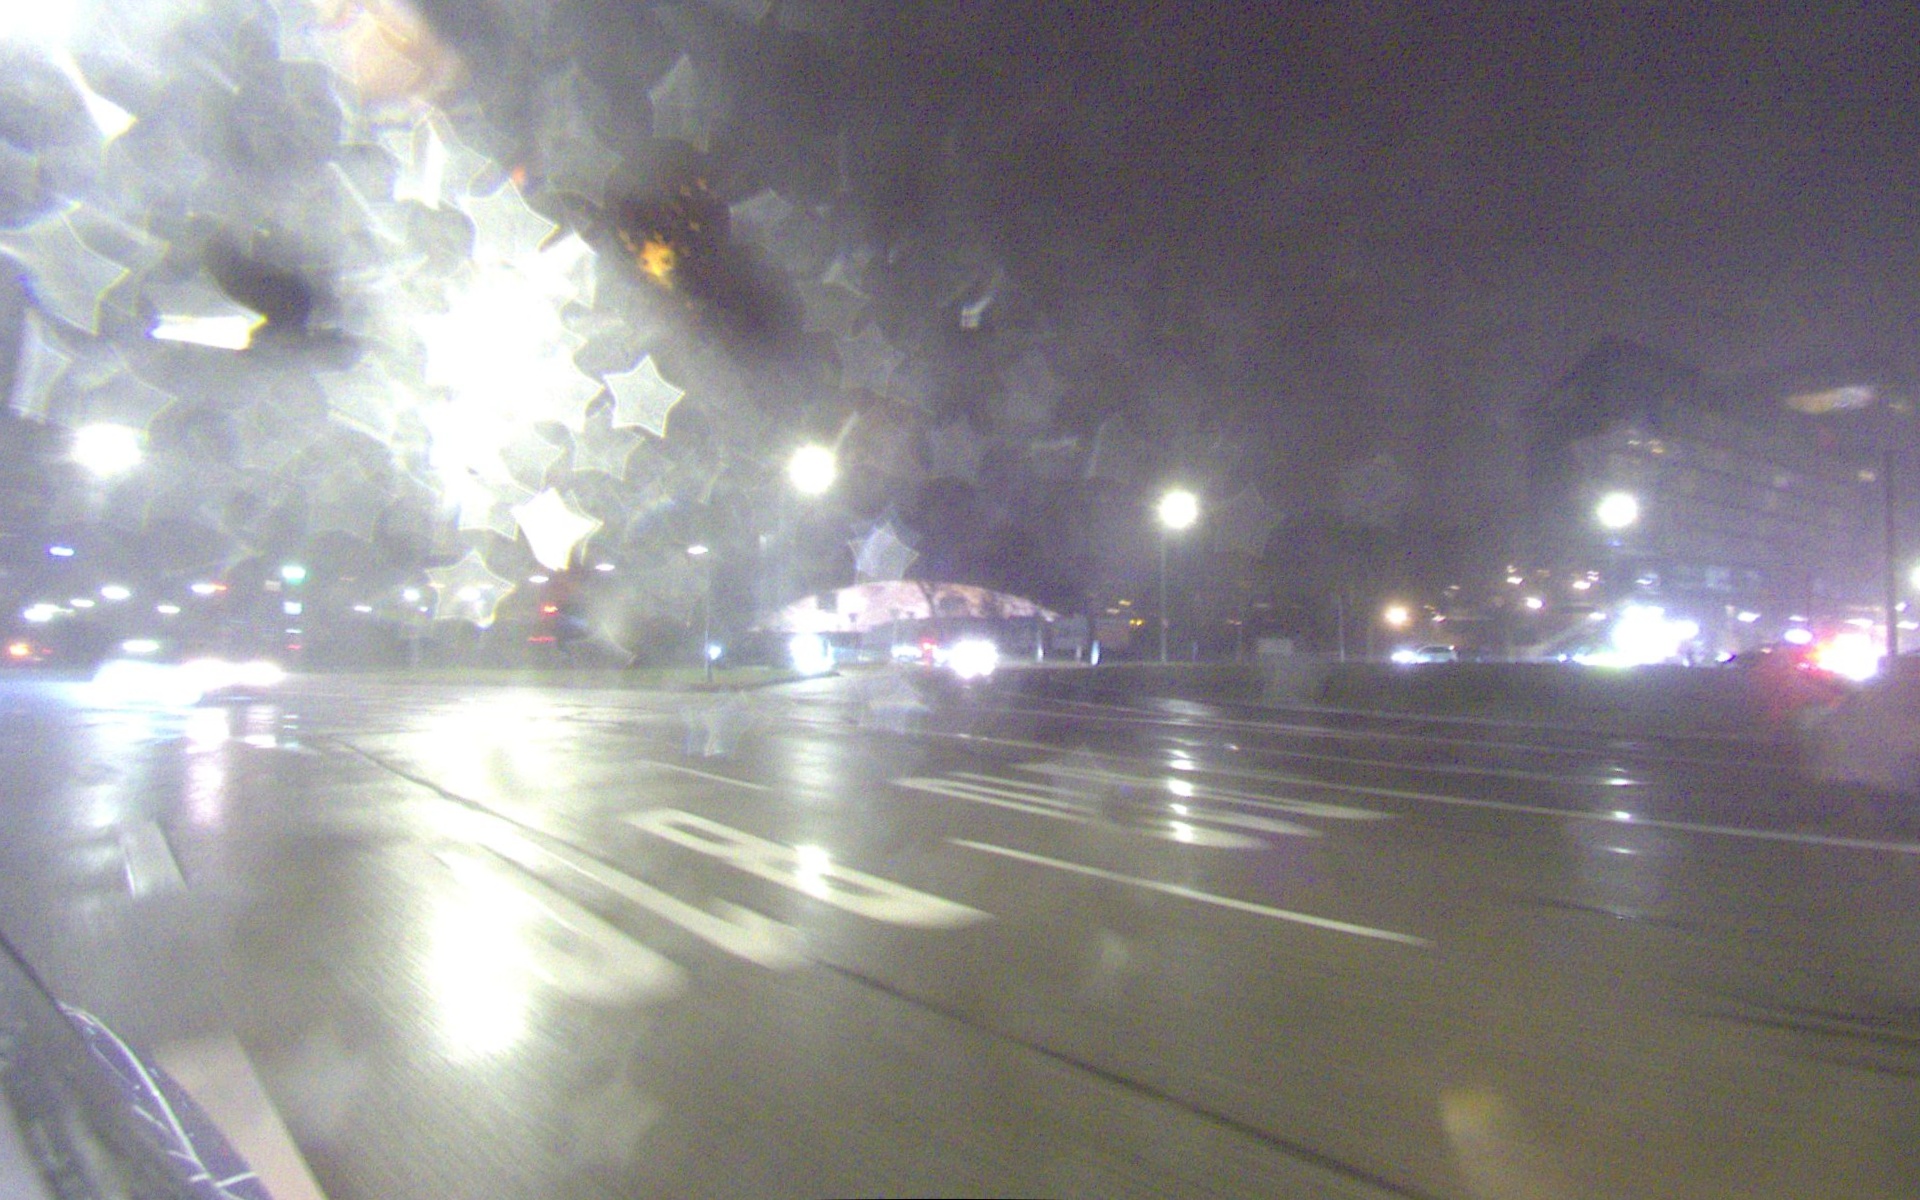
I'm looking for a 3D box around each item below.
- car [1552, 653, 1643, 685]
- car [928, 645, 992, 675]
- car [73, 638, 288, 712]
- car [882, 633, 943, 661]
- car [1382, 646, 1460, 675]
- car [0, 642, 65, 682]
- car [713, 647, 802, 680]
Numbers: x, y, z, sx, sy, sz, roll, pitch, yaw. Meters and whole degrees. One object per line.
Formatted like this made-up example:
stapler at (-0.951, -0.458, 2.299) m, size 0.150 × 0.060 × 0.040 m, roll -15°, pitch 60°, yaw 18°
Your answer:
car at (35.104, 3.794, 55.798) m, size 3.819 × 1.630 × 1.773 m, roll 0°, pitch -1°, yaw 0°
car at (-0.018, 3.573, 60.577) m, size 1.732 × 1.586 × 4.007 m, roll 1°, pitch -1°, yaw -39°
car at (-18.368, 1.692, 23.836) m, size 4.841 × 1.538 × 1.822 m, roll 0°, pitch -1°, yaw 22°
car at (-3.628, 3.546, 77.623) m, size 4.412 × 2.029 × 1.976 m, roll -1°, pitch -1°, yaw 35°
car at (27.517, 3.601, 60.513) m, size 3.818 × 1.630 × 1.773 m, roll 0°, pitch -1°, yaw 0°
car at (-44.026, 2.783, 45.912) m, size 4.969 × 1.729 × 2.070 m, roll 0°, pitch -1°, yaw 0°
car at (-9.174, 2.848, 45.929) m, size 3.882 × 1.383 × 1.834 m, roll 0°, pitch -1°, yaw -12°
